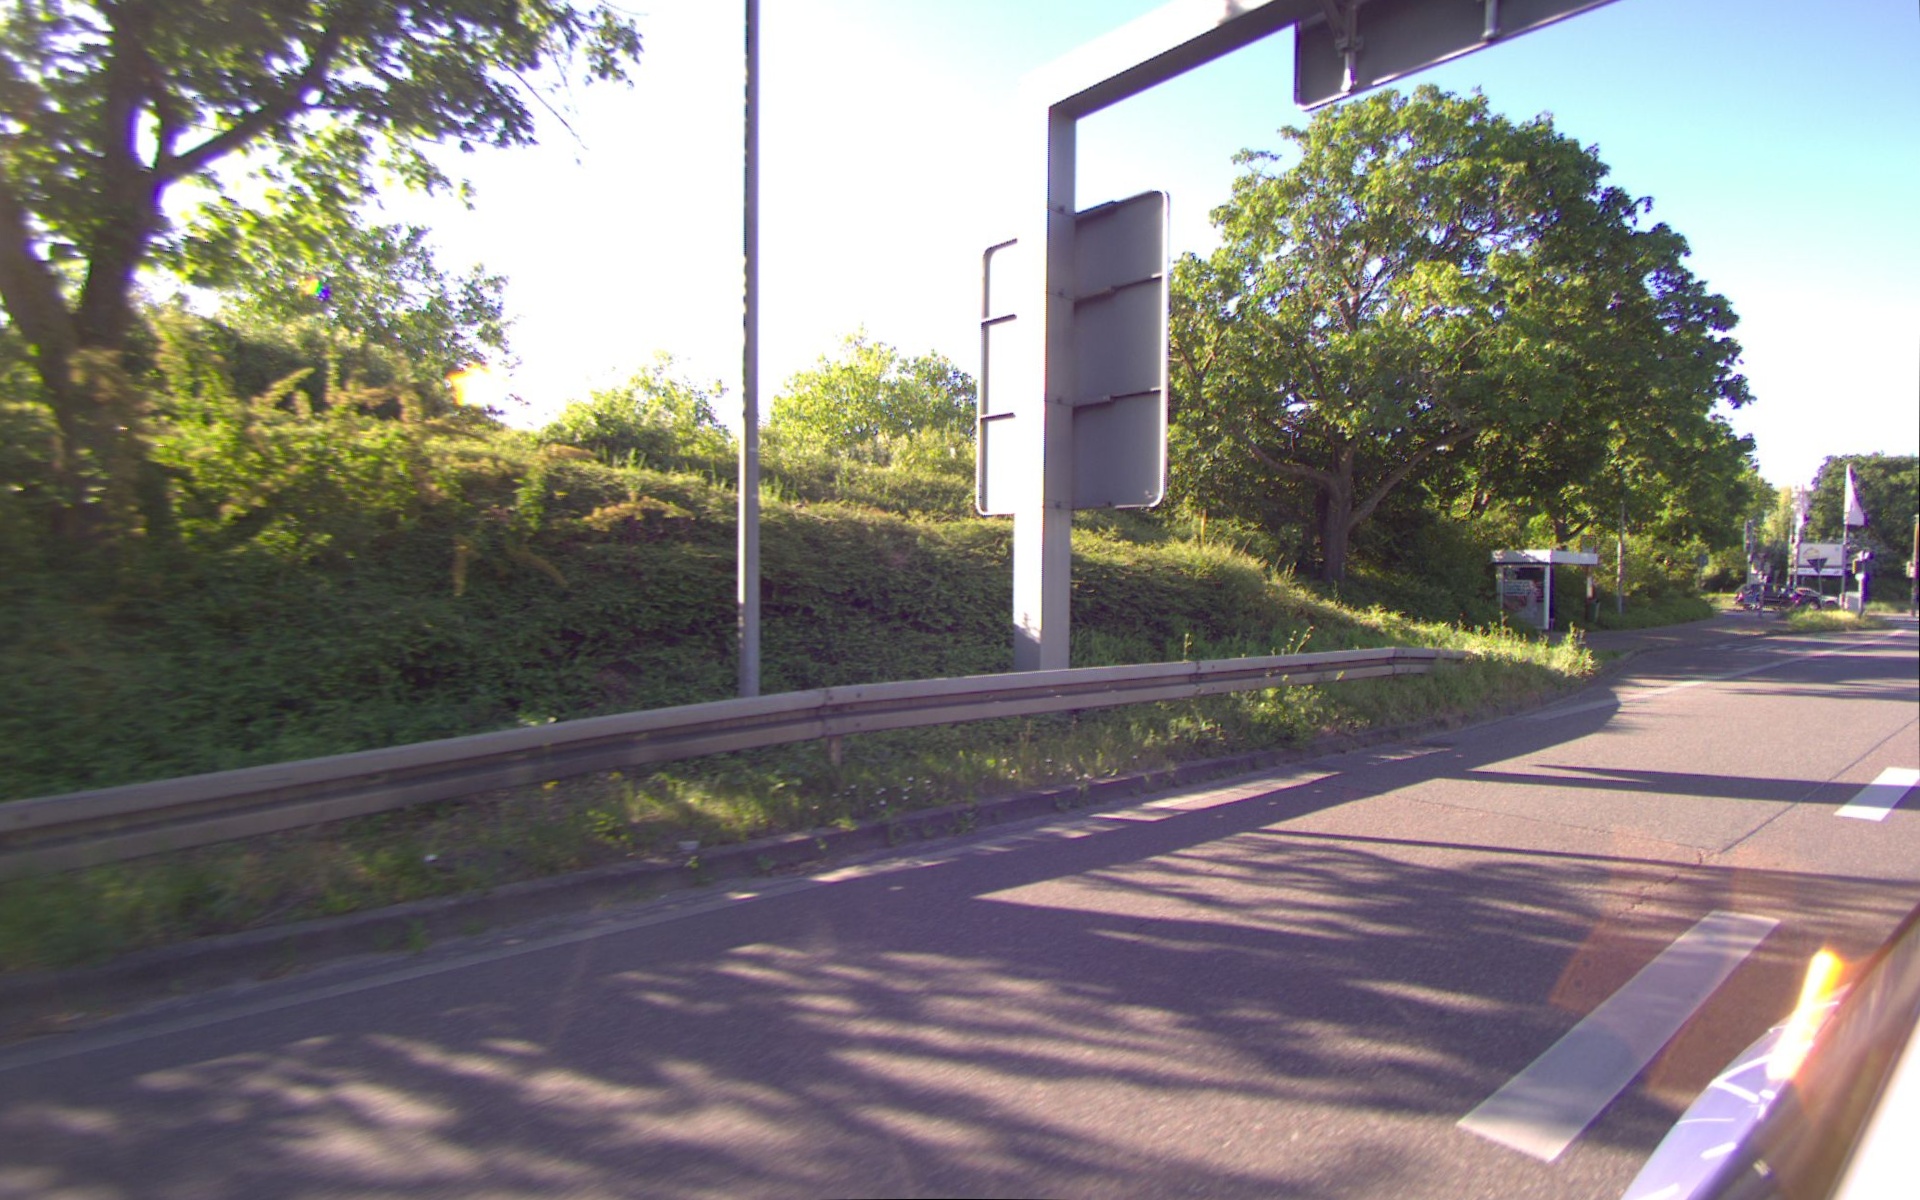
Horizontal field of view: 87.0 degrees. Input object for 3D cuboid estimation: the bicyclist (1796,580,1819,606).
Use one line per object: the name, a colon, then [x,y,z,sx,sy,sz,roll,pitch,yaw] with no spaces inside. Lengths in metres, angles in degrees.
bicyclist: [51.879,-0.445,61.965,0.976,1.577,0.751,3,2,38]

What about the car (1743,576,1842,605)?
car: [53.353,-0.639,64.984,4.617,1.748,1.887,2,1,32]

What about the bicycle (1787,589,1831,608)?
bicycle: [51.933,-0.094,61.922,2.005,1.105,0.755,3,2,39]

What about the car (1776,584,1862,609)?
car: [56.807,-0.242,67.036,4.058,1.558,1.754,2,1,31]
